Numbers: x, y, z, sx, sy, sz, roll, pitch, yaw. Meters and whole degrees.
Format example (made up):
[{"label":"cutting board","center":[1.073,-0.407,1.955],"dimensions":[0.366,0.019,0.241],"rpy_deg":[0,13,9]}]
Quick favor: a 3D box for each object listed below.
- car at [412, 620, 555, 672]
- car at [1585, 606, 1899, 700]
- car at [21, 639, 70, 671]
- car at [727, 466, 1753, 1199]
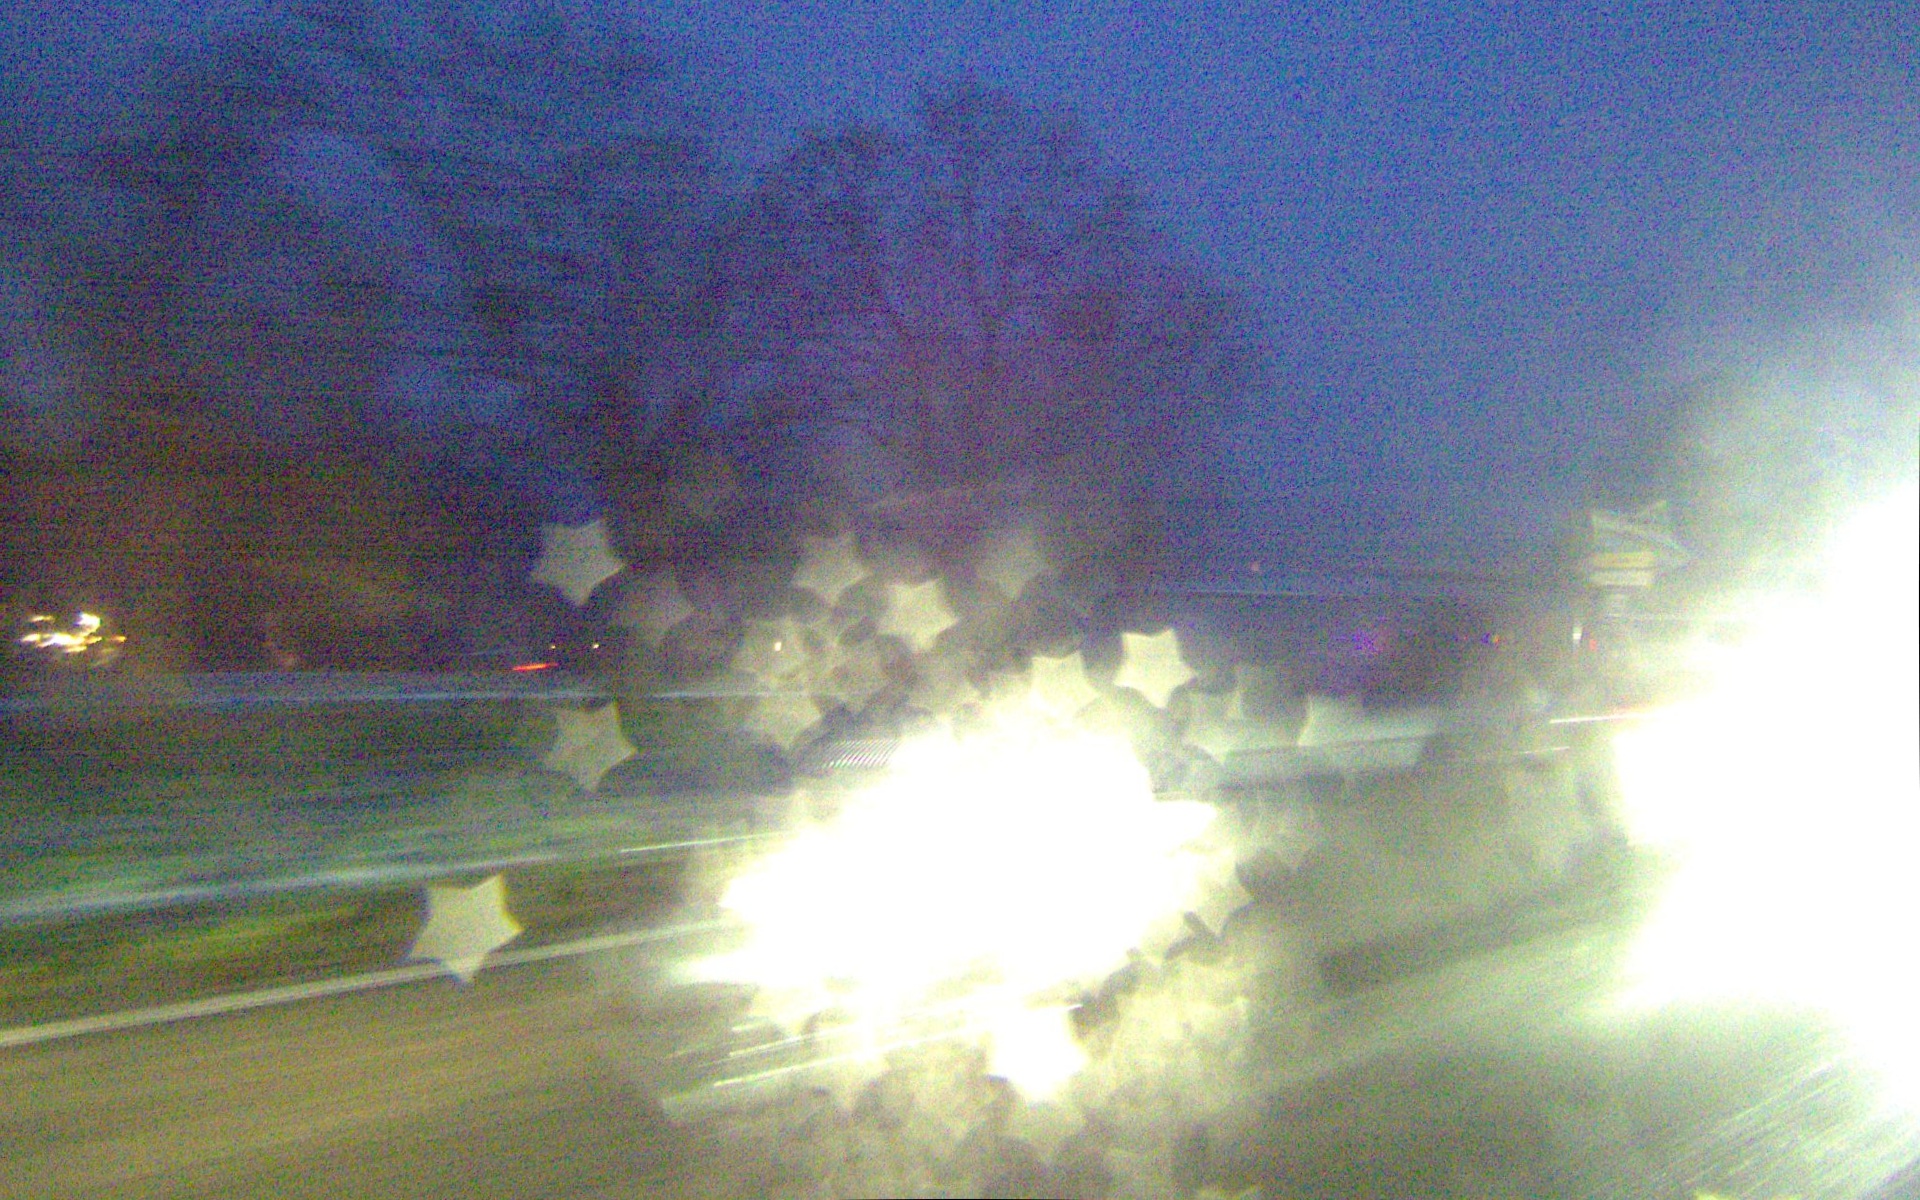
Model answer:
[{"label":"car","center":[-16.420,1.595,34.760],"dimensions":[4.083,1.709,1.694],"rpy_deg":[1,-3,-3]},{"label":"car","center":[16.323,1.061,21.270],"dimensions":[1.979,1.757,4.884],"rpy_deg":[1,-2,-33]},{"label":"car","center":[-70.154,4.193,77.109],"dimensions":[2.285,2.040,4.617],"rpy_deg":[4,-1,-38]},{"label":"car","center":[1.265,0.573,4.052],"dimensions":[3.954,1.757,1.744],"rpy_deg":[1,1,-31]}]
